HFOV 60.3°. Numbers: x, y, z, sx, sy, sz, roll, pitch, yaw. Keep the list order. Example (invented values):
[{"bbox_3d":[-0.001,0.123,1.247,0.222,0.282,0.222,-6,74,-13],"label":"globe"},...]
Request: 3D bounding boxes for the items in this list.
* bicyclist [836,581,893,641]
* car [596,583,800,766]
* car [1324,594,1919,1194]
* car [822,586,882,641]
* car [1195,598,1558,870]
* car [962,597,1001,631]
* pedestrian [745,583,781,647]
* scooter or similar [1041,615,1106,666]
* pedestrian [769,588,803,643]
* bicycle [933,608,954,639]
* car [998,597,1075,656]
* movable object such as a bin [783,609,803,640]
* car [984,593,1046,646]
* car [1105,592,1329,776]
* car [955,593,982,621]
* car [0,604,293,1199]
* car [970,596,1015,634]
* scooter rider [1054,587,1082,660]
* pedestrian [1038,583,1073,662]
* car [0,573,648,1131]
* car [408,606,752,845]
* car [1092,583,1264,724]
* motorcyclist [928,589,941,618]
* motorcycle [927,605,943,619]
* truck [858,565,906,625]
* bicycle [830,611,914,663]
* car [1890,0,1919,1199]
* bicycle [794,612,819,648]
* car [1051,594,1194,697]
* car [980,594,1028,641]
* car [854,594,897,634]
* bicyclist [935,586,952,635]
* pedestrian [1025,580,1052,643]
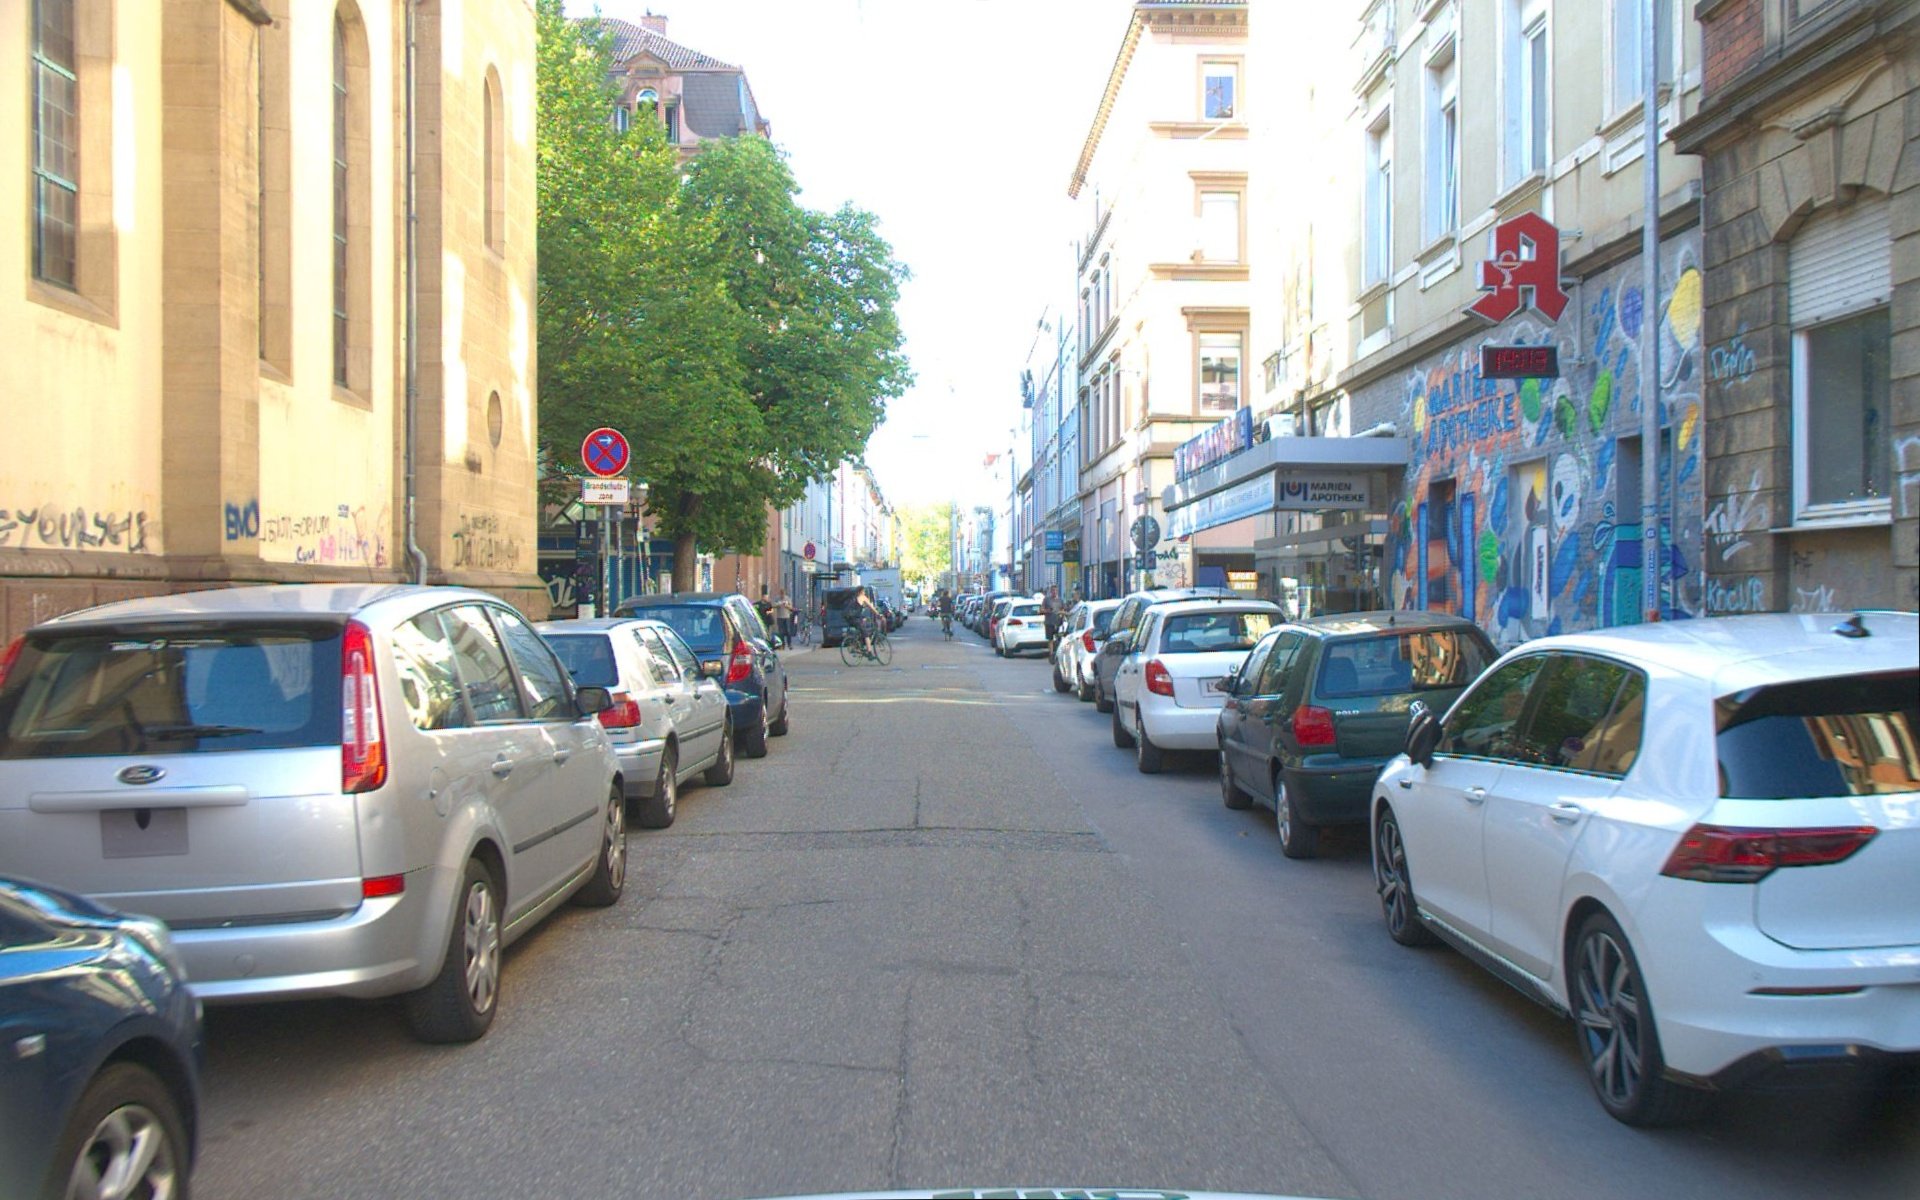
[{"bbox_3d":[-2.147,0.250,37.230,0.744,1.329,1.055,0,0,43],"label":"bicyclist"},{"bbox_3d":[-2.621,0.700,17.309,1.568,1.642,3.807,-2,0,-2],"label":"car"},{"bbox_3d":[2.802,0.770,6.405,1.743,1.512,4.359,2,0,-1],"label":"car"},{"bbox_3d":[-3.648,0.447,56.548,1.837,1.828,3.999,0,0,-1],"label":"car"},{"bbox_3d":[2.664,0.775,11.361,1.537,1.521,3.653,2,0,0],"label":"car"},{"bbox_3d":[1.162,0.742,89.369,1.953,1.715,3.999,2,0,-1],"label":"car"},{"bbox_3d":[-5.656,0.428,47.547,0.910,1.817,0.806,0,0,0],"label":"pedestrian"},{"bbox_3d":[2.636,0.943,38.484,1.497,1.159,0.601,0,0,4],"label":"scooter or similar"},{"bbox_3d":[-5.247,0.466,49.914,0.910,1.666,0.806,0,0,0],"label":"pedestrian"},{"bbox_3d":[-0.593,0.840,59.299,0.724,1.062,1.859,0,0,-1],"label":"bicycle"},{"bbox_3d":[2.016,0.676,44.581,1.859,1.514,3.869,0,0,-1],"label":"car"},{"bbox_3d":[-6.449,0.938,63.793,0.699,1.161,0.583,0,0,3],"label":"movable object such as a bin"},{"bbox_3d":[1.778,0.619,54.744,1.859,1.680,3.999,0,0,-1],"label":"car"},{"bbox_3d":[2.379,0.721,16.184,1.571,1.531,4.000,1,0,0],"label":"car"},{"bbox_3d":[0.618,0.494,121.076,1.953,2.049,3.999,0,0,-1],"label":"car"},{"bbox_3d":[-2.299,0.770,1.779,1.582,1.477,3.949,-2,0,-1],"label":"car"},{"bbox_3d":[1.508,0.700,78.622,1.953,1.660,3.999,3,0,-1],"label":"car"},{"bbox_3d":[2.511,0.545,38.486,0.636,1.671,0.684,0,0,5],"label":"scooter rider"},{"bbox_3d":[2.284,0.539,39.633,0.669,1.875,0.692,1,0,-12],"label":"pedestrian"},{"bbox_3d":[-2.430,0.729,6.768,1.639,1.586,3.999,-1,0,-2],"label":"car"},{"bbox_3d":[-2.667,0.809,12.453,1.538,1.422,3.809,-3,0,2],"label":"car"},{"bbox_3d":[2.742,0.633,21.562,1.681,1.674,3.999,0,0,-1],"label":"car"},{"bbox_3d":[-1.834,0.262,119.462,0.884,2.049,1.190,0,0,-3],"label":"motorcyclist"},{"bbox_3d":[-1.814,0.858,118.856,1.021,0.997,2.823,0,0,-3],"label":"motorcycle"},{"bbox_3d":[-4.439,-0.279,94.882,2.480,3.339,6.993,0,0,-1],"label":"truck"},{"bbox_3d":[-1.981,0.827,37.406,0.754,1.129,1.935,0,0,43],"label":"bicycle"},{"bbox_3d":[2.785,0.112,0.148,2.026,2.656,5.887,1,0,-1],"label":"car"},{"bbox_3d":[-4.968,0.957,53.507,0.633,1.128,1.600,0,0,-11],"label":"bicycle"},{"bbox_3d":[2.516,0.675,26.363,1.682,1.514,3.866,0,0,-4],"label":"car"},{"bbox_3d":[1.698,0.665,65.178,1.733,1.771,3.999,0,0,-1],"label":"car"},{"bbox_3d":[-3.981,0.635,78.295,1.837,1.828,3.999,0,0,-1],"label":"car"},{"bbox_3d":[-0.586,0.378,59.251,0.593,1.718,0.885,0,0,-1],"label":"bicyclist"},{"bbox_3d":[2.401,0.354,50.392,0.766,1.875,1.012,1,0,4],"label":"pedestrian"}]
